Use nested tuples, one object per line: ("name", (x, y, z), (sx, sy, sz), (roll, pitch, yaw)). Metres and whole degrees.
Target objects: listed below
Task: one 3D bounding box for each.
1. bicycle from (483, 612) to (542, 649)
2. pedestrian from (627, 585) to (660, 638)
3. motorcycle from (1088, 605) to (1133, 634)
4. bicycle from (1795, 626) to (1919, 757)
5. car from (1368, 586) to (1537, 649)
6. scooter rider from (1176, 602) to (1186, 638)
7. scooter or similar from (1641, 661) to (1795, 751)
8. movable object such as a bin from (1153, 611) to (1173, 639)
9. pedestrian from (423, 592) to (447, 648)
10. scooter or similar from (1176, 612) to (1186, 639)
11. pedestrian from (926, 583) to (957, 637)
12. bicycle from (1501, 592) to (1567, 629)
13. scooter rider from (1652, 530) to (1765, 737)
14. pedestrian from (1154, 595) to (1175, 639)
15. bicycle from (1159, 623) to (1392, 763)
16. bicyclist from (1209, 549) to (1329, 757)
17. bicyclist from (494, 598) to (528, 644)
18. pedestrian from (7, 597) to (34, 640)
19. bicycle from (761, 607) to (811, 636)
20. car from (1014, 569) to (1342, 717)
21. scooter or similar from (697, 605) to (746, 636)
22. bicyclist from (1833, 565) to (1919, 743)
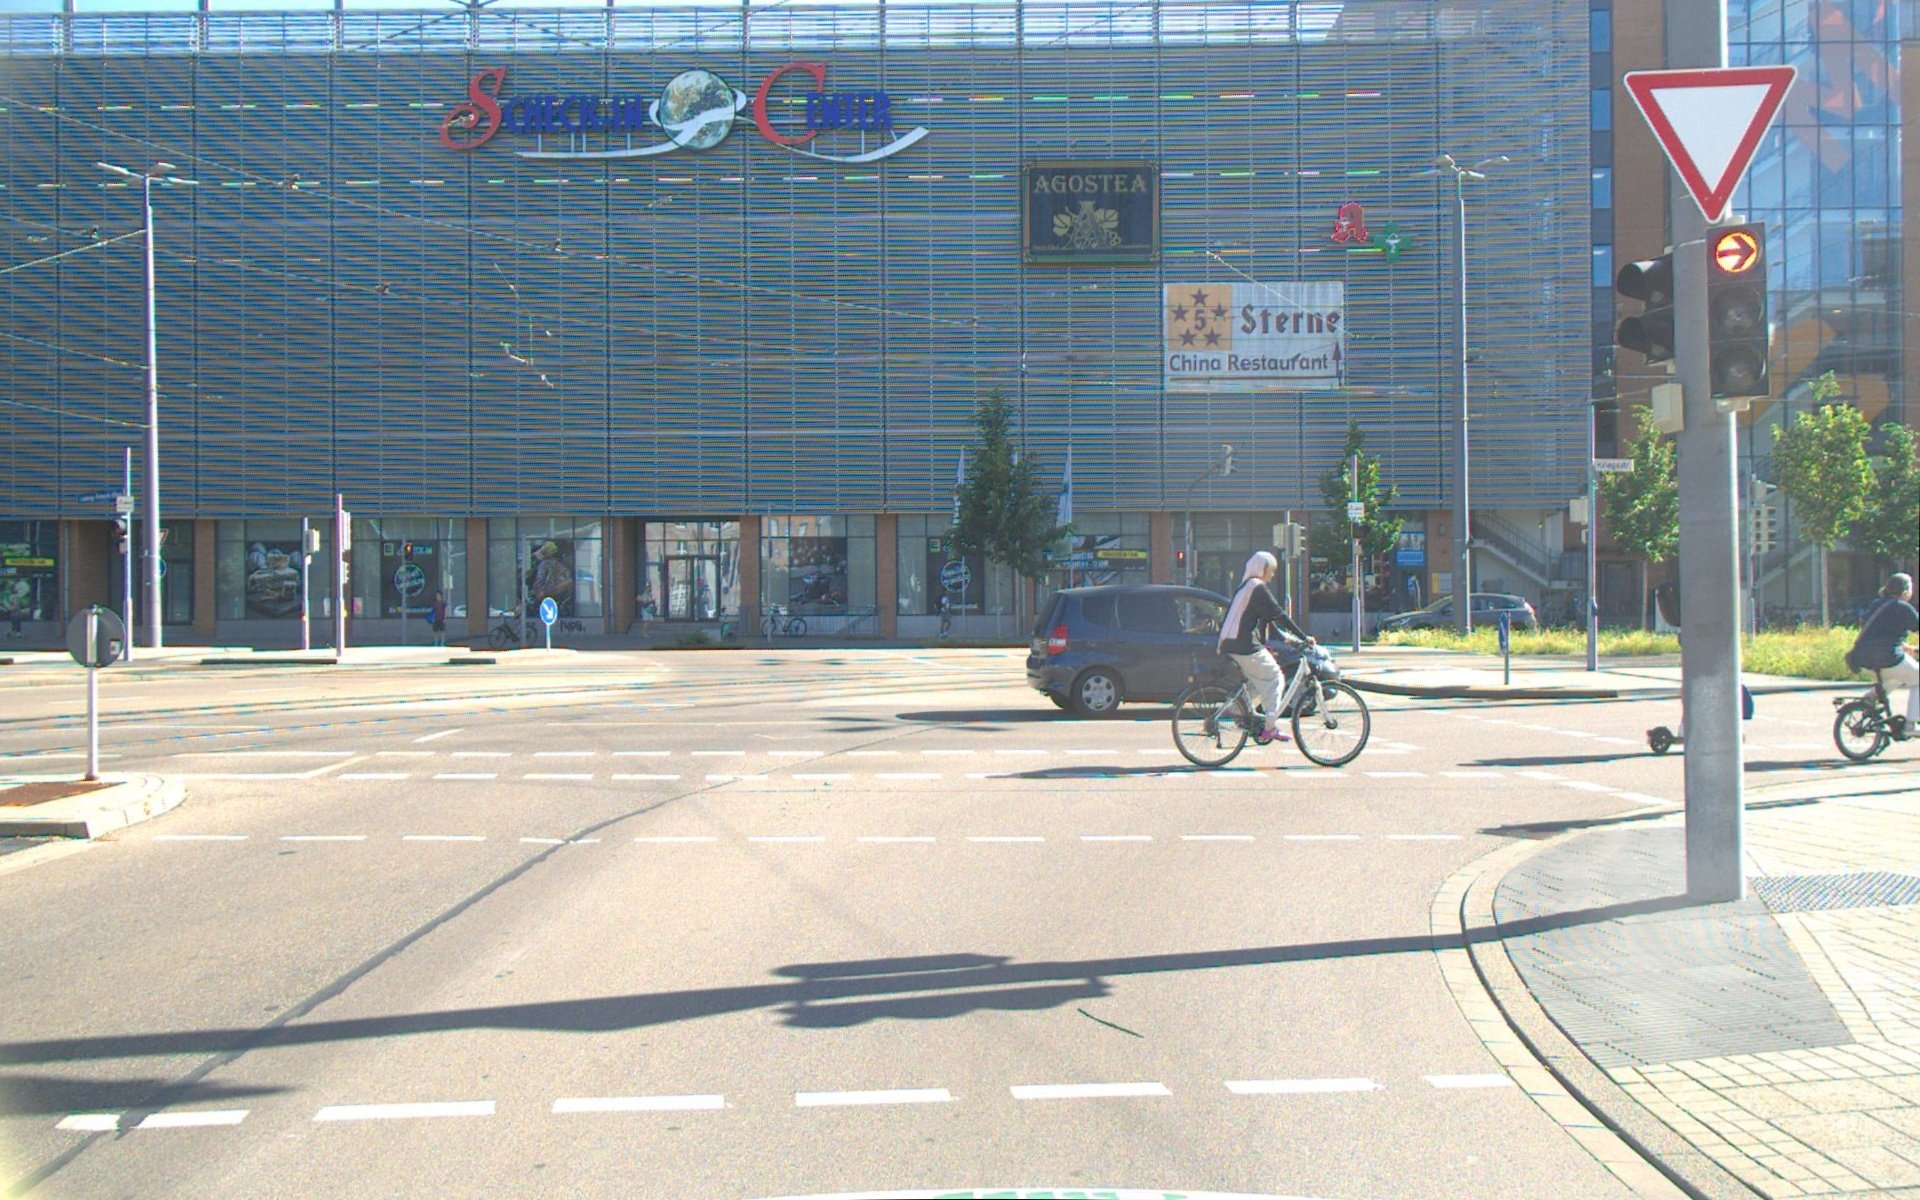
("bicycle", (-14.770, 1.001, 54.611), (0.559, 1.105, 1.852), (0, 2, 42))
("pedestrian", (-11.475, 0.417, 60.056), (0.930, 1.860, 0.846), (-2, 0, 5))
("motorcycle", (5.527, 0.724, 60.699), (1.605, 1.022, 0.447), (1, 0, 6))
("bicycle", (8.646, 0.836, 15.212), (1.723, 1.157, 0.585), (1, 0, -11))
("car", (13.667, 0.494, 46.037), (4.063, 1.495, 1.840), (3, -1, -2))
("scooter rider", (7.358, 0.664, 55.121), (0.282, 1.221, 0.386), (1, -1, 10))
("scooter or similar", (7.138, 0.992, 15.591), (1.186, 0.799, 0.613), (1, 0, -11))
("movable object such as a bin", (6.739, 0.828, 54.888), (0.599, 0.920, 0.970), (1, 0, 10))
("pedestrian", (-17.341, 0.656, 54.660), (0.683, 1.829, 0.727), (-2, 0, -17))
("scooter or similar", (7.364, 0.830, 55.181), (0.288, 0.888, 1.004), (1, 0, 10))
("pedestrian", (-0.642, 0.353, 59.330), (0.991, 1.860, 1.036), (-2, 0, 3))
("bicycle", (21.286, 0.388, 61.342), (2.209, 1.318, 0.605), (1, -1, -2))
("scooter rider", (7.039, 0.315, 15.574), (0.770, 1.905, 0.572), (1, -1, -11))
("pedestrian", (6.854, 0.574, 55.355), (0.641, 1.438, 0.850), (1, 0, 10))
("bicycle", (2.695, 0.794, 14.192), (1.864, 1.157, 0.580), (1, 0, -7))
("bicyclist", (2.644, 0.447, 14.178), (0.866, 1.736, 0.573), (1, -1, -7))
("bicyclist", (-14.802, 0.684, 54.536), (0.663, 1.452, 0.844), (0, 2, 42))
("pedestrian", (-35.514, 0.700, 62.511), (0.646, 1.629, 0.594), (1, -1, 18))
("bicycle", (-6.368, 0.773, 60.424), (1.783, 1.006, 0.556), (0, 1, -11))
("car", (2.551, 0.481, 19.828), (3.619, 1.674, 1.644), (0, 0, -7))
("scooter or similar", (-8.748, 0.742, 60.771), (1.759, 1.085, 0.611), (0, 1, -9))
("bicyclist", (8.620, 0.490, 15.222), (0.866, 1.594, 0.572), (1, -1, -11))
